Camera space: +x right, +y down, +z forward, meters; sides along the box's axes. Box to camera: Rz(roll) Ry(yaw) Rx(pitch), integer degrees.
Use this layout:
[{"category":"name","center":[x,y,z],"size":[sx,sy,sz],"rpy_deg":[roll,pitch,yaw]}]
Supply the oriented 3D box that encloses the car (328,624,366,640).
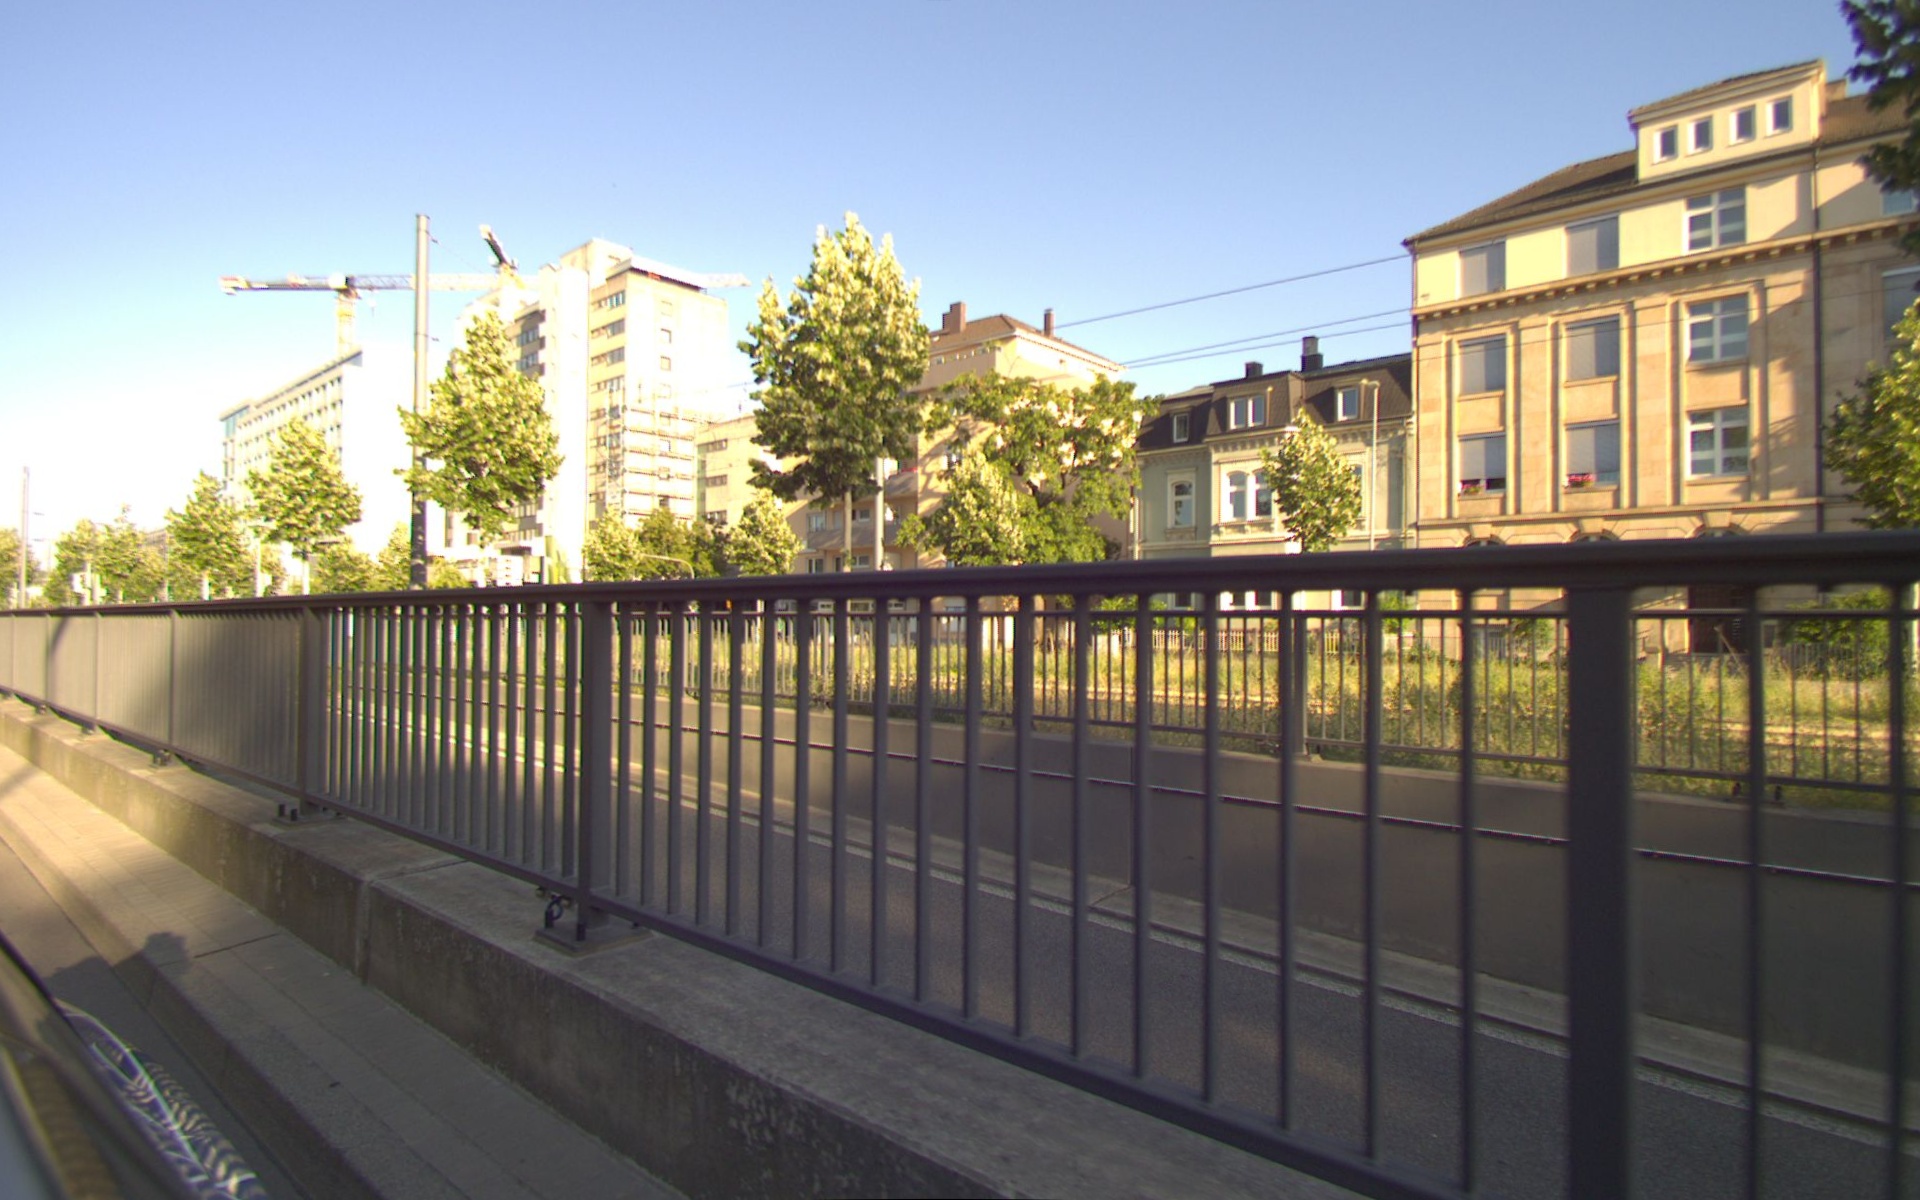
[{"category":"car","center":[-60.779,3.133,100.387],"size":[1.598,1.455,3.794],"rpy_deg":[-1,0,-2]}]

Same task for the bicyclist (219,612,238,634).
[{"category":"bicyclist","center":[-47.521,1.495,65.764],"size":[0.710,1.405,0.732],"rpy_deg":[0,-1,18]}]

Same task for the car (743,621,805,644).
[{"category":"car","center":[-12.890,2.282,70.294],"size":[1.846,1.508,3.945],"rpy_deg":[-2,-3,41]}]

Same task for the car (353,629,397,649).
[{"category":"car","center":[-54.170,3.584,93.827],"size":[1.599,1.703,4.195],"rpy_deg":[-1,0,1]}]

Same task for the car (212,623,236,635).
[{"category":"car","center":[-95.266,3.752,130.927],"size":[3.389,1.477,1.850],"rpy_deg":[-1,0,42]}]

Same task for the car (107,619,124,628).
[{"category":"car","center":[-166.670,4.643,199.703],"size":[4.638,1.600,1.849],"rpy_deg":[-1,0,42]}]

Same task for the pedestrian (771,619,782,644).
[{"category":"pedestrian","center":[-11.584,1.963,63.993],"size":[0.520,1.567,0.442],"rpy_deg":[-1,-2,41]}]

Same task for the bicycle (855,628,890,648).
[{"category":"bicycle","center":[-5.263,2.261,60.690],"size":[2.585,1.145,0.525],"rpy_deg":[-1,-2,42]}]

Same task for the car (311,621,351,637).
[{"category":"car","center":[-63.461,2.880,102.161],"size":[1.763,1.455,3.804],"rpy_deg":[-1,0,-3]}]

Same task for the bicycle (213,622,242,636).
[{"category":"bicycle","center":[-47.763,1.912,65.989],"size":[2.015,0.898,0.503],"rpy_deg":[0,-1,19]}]
